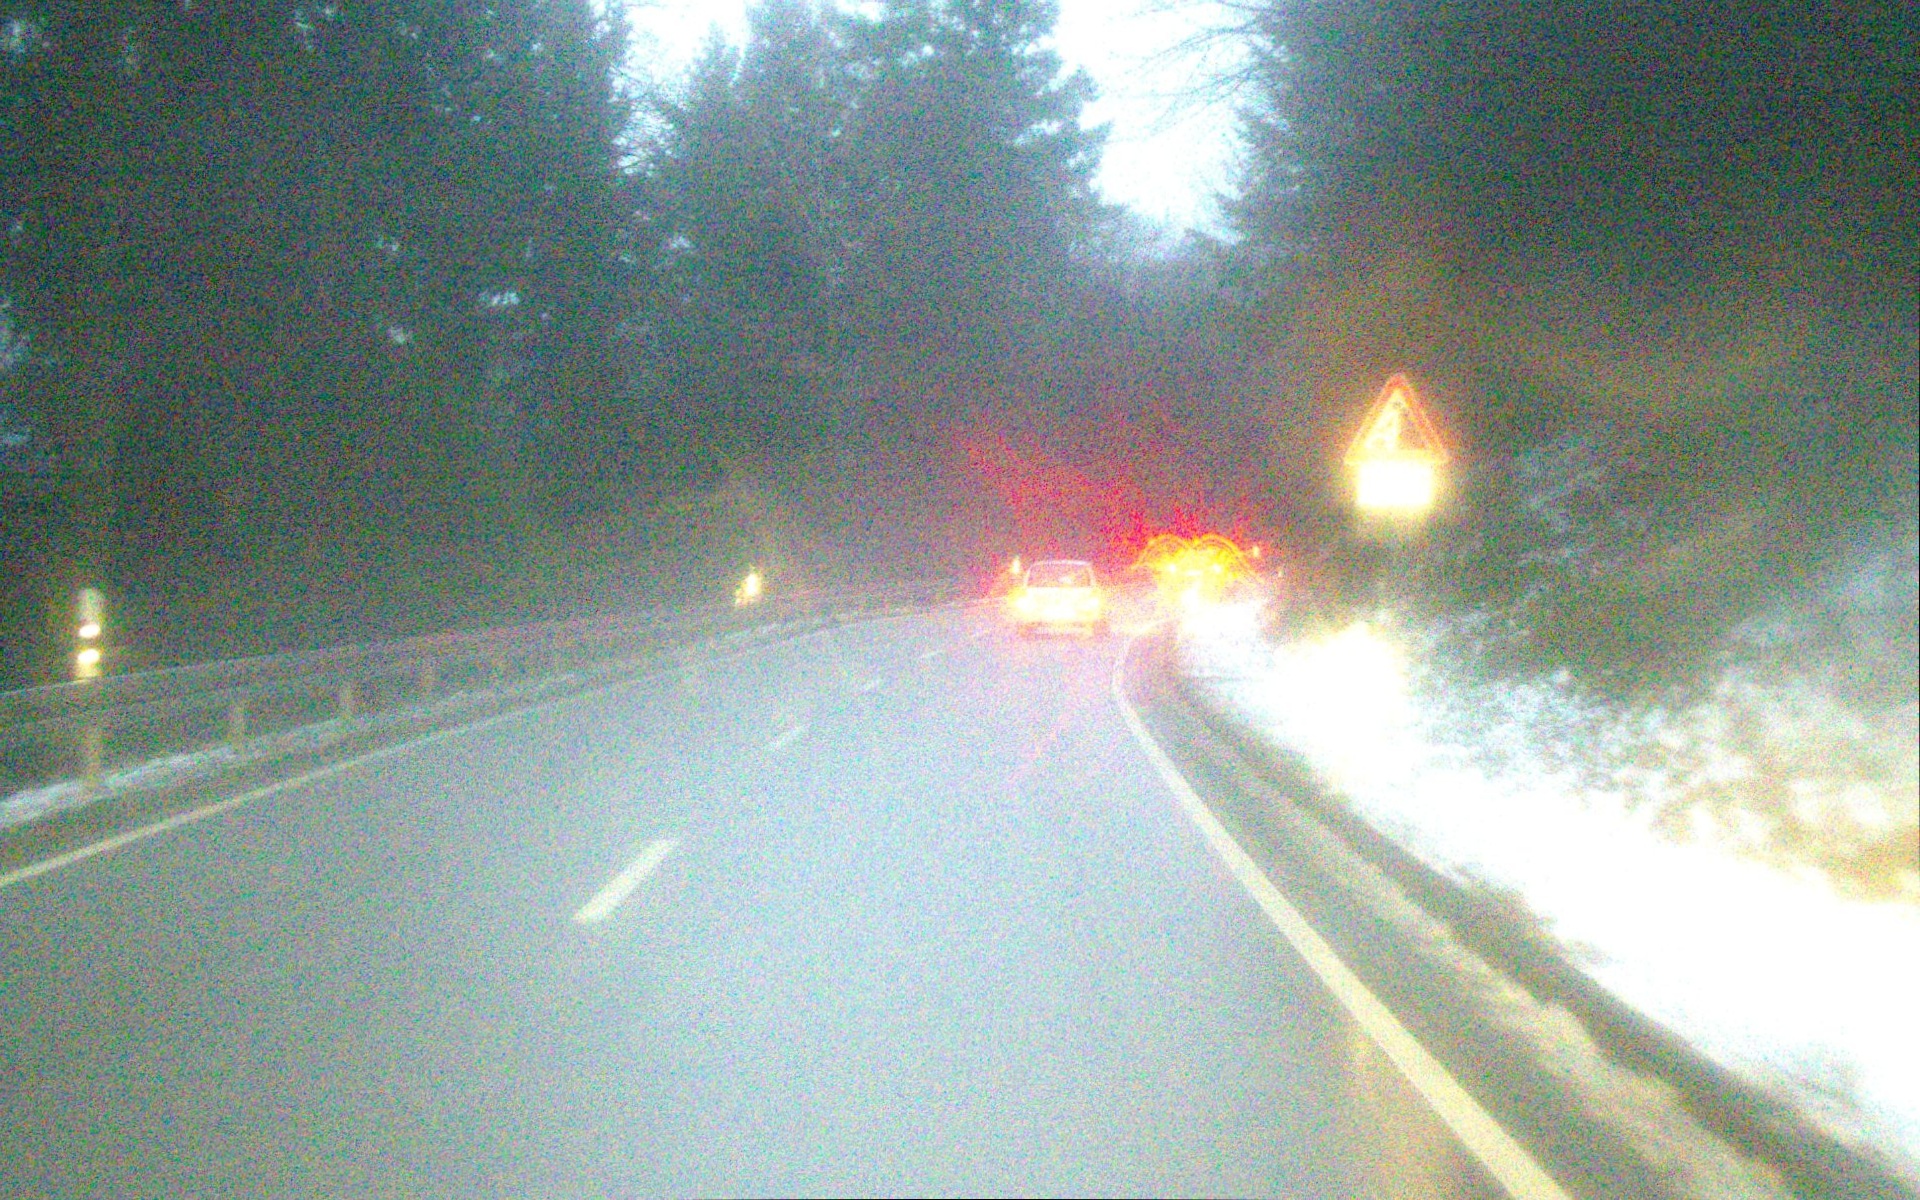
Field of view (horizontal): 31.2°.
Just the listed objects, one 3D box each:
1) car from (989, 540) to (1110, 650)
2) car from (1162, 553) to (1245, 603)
[{"bbox_3d":[1.685,-0.124,63.674,1.994,1.866,4.000,-3,1,4],"label":"car"},{"bbox_3d":[7.151,-0.656,100.745,1.994,1.305,3.999,-3,1,9],"label":"car"}]
